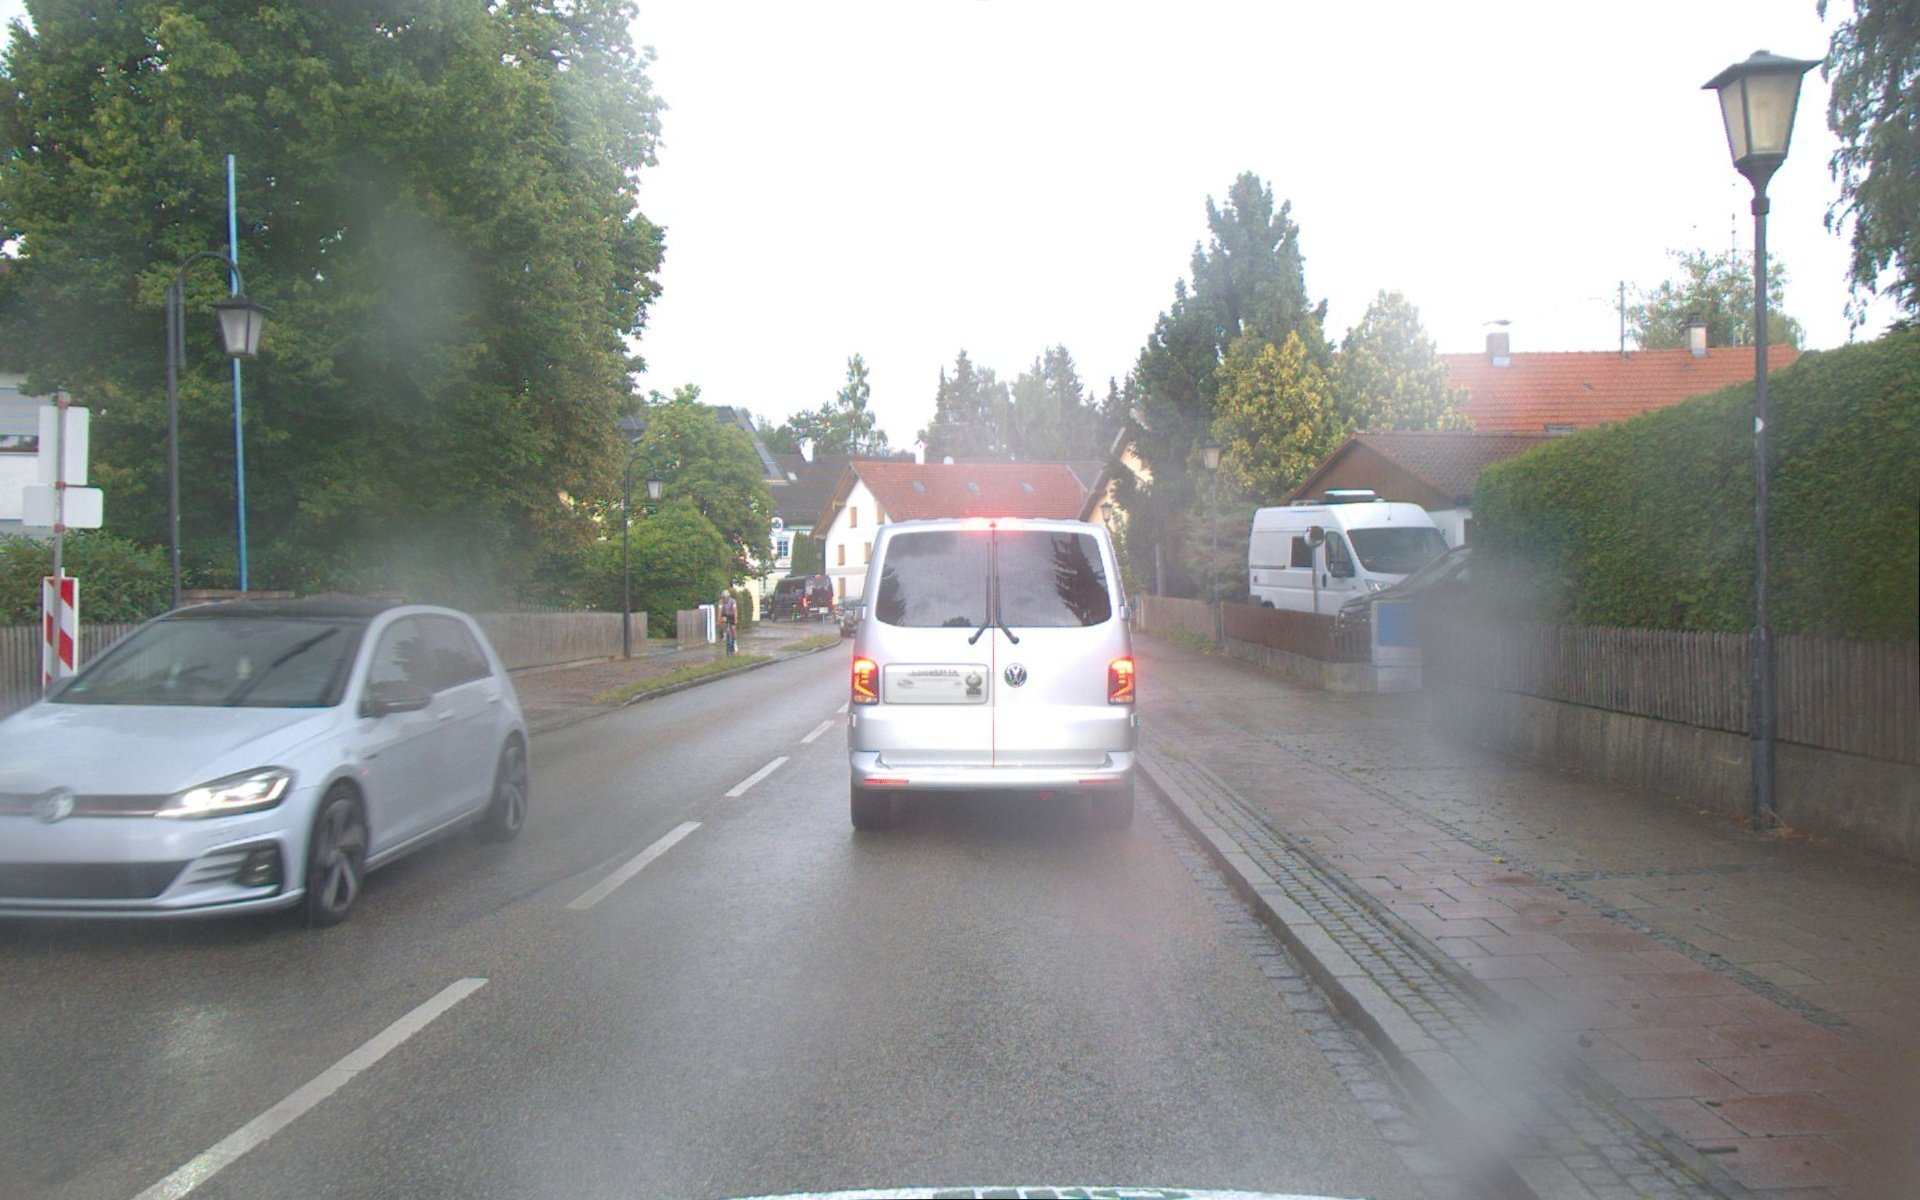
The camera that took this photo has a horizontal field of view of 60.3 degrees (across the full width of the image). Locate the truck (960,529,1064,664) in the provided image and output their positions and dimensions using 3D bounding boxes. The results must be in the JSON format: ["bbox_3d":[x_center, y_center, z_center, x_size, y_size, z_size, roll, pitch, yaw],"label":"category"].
[{"bbox_3d":[1.234,-0.048,42.182,2.425,3.128,6.295,1,-1,0],"label":"truck"}]

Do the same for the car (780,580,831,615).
[{"bbox_3d":[-9.155,-0.133,97.703,1.966,1.961,3.973,1,-1,-22],"label":"car"}]

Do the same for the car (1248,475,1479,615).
[{"bbox_3d":[6.937,-0.859,29.067,1.959,2.211,4.936,1,-1,-13],"label":"car"}]

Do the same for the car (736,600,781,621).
[{"bbox_3d":[-13.197,0.668,108.143,1.759,1.333,3.743,1,-1,-27],"label":"car"}]

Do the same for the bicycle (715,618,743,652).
[{"bbox_3d":[-5.887,0.890,42.255,0.447,0.812,1.977,0,0,0],"label":"bicycle"}]

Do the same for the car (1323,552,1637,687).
[{"bbox_3d":[7.473,0.248,23.990,4.012,1.782,1.694,-1,2,-3],"label":"car"}]

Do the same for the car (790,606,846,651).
[{"bbox_3d":[-4.807,0.972,56.246,1.585,1.470,3.670,0,-1,0],"label":"car"}]

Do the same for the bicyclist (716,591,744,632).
[{"bbox_3d":[-5.873,0.294,42.273,0.575,1.039,1.060,0,0,0],"label":"bicyclist"}]

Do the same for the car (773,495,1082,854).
[{"bbox_3d":[-0.088,0.450,11.597,1.763,2.049,4.001,1,-1,3],"label":"car"}]

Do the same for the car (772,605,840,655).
[{"bbox_3d":[-4.702,0.922,50.881,1.584,1.470,3.671,0,-1,2],"label":"car"}]

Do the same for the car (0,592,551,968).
[{"bbox_3d":[-3.508,0.730,8.567,1.681,1.467,4.000,1,-1,1],"label":"car"}]

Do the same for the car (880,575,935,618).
[{"bbox_3d":[-2.618,-0.162,81.665,1.960,2.049,3.985,1,-1,-14],"label":"car"}]

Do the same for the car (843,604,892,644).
[{"bbox_3d":[-3.916,0.999,69.529,1.792,1.586,4.171,-1,-1,-7],"label":"car"}]
